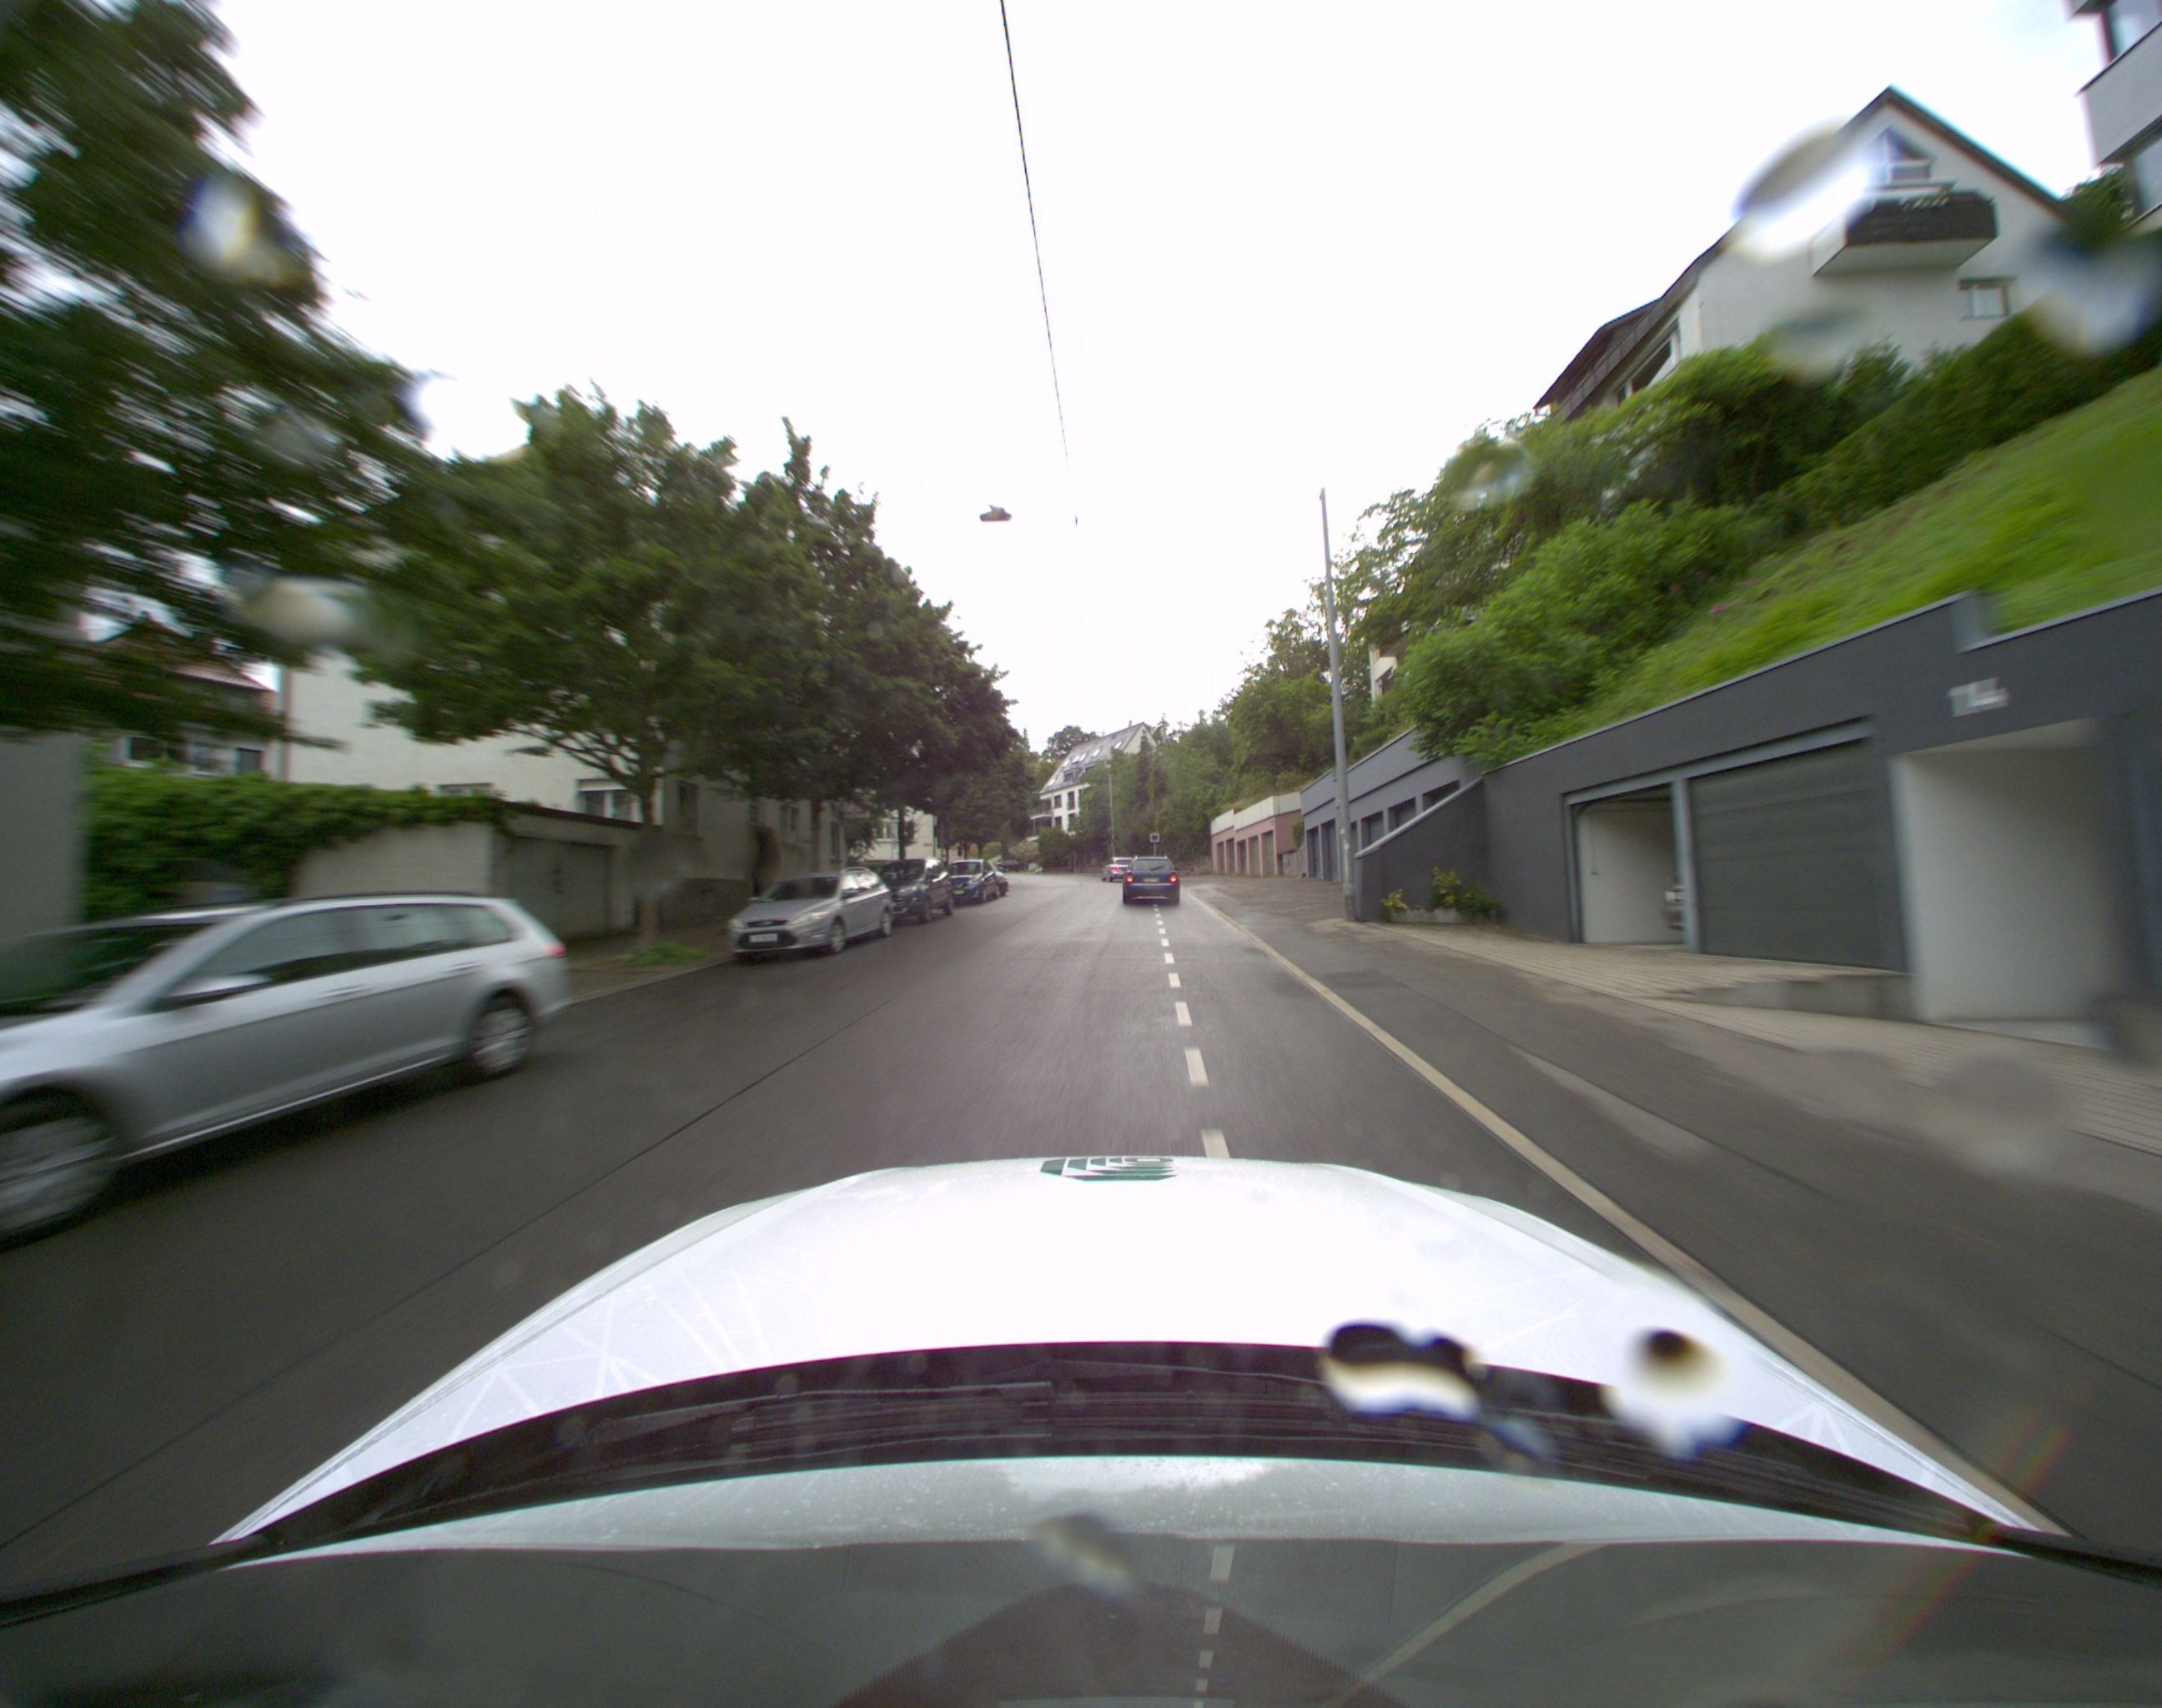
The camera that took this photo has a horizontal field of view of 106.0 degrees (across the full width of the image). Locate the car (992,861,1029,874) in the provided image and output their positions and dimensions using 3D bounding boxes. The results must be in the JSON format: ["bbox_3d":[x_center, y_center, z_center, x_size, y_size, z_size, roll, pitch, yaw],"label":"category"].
[{"bbox_3d":[-8.082,1.540,93.521,1.718,1.508,4.207,-1,-1,44],"label":"car"}]

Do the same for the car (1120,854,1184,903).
[{"bbox_3d":[2.218,0.708,25.884,1.846,1.414,4.366,-1,0,4],"label":"car"}]

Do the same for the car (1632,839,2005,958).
[{"bbox_3d":[10.345,0.672,11.705,3.662,1.421,1.657,2,-6,7],"label":"car"}]

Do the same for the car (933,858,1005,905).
[{"bbox_3d":[-3.940,0.936,29.242,1.704,1.462,3.886,1,1,5],"label":"car"}]

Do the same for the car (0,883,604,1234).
[{"bbox_3d":[-5.399,0.934,5.163,1.797,1.453,4.600,0,-2,3],"label":"car"}]

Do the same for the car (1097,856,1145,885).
[{"bbox_3d":[2.357,0.943,49.013,1.950,1.561,4.248,3,0,-10],"label":"car"}]

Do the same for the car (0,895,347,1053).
[{"bbox_3d":[-14.122,1.792,12.539,3.685,1.543,1.796,-11,0,-3],"label":"car"}]

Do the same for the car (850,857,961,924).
[{"bbox_3d":[-4.553,0.907,21.745,1.796,1.627,4.143,0,-1,4],"label":"car"}]

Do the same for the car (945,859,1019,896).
[{"bbox_3d":[-4.203,0.959,34.000,2.002,1.391,4.165,-1,-1,-23],"label":"car"}]

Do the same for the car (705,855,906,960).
[{"bbox_3d":[-4.993,0.937,15.602,1.797,1.552,4.804,-5,-2,4],"label":"car"}]
